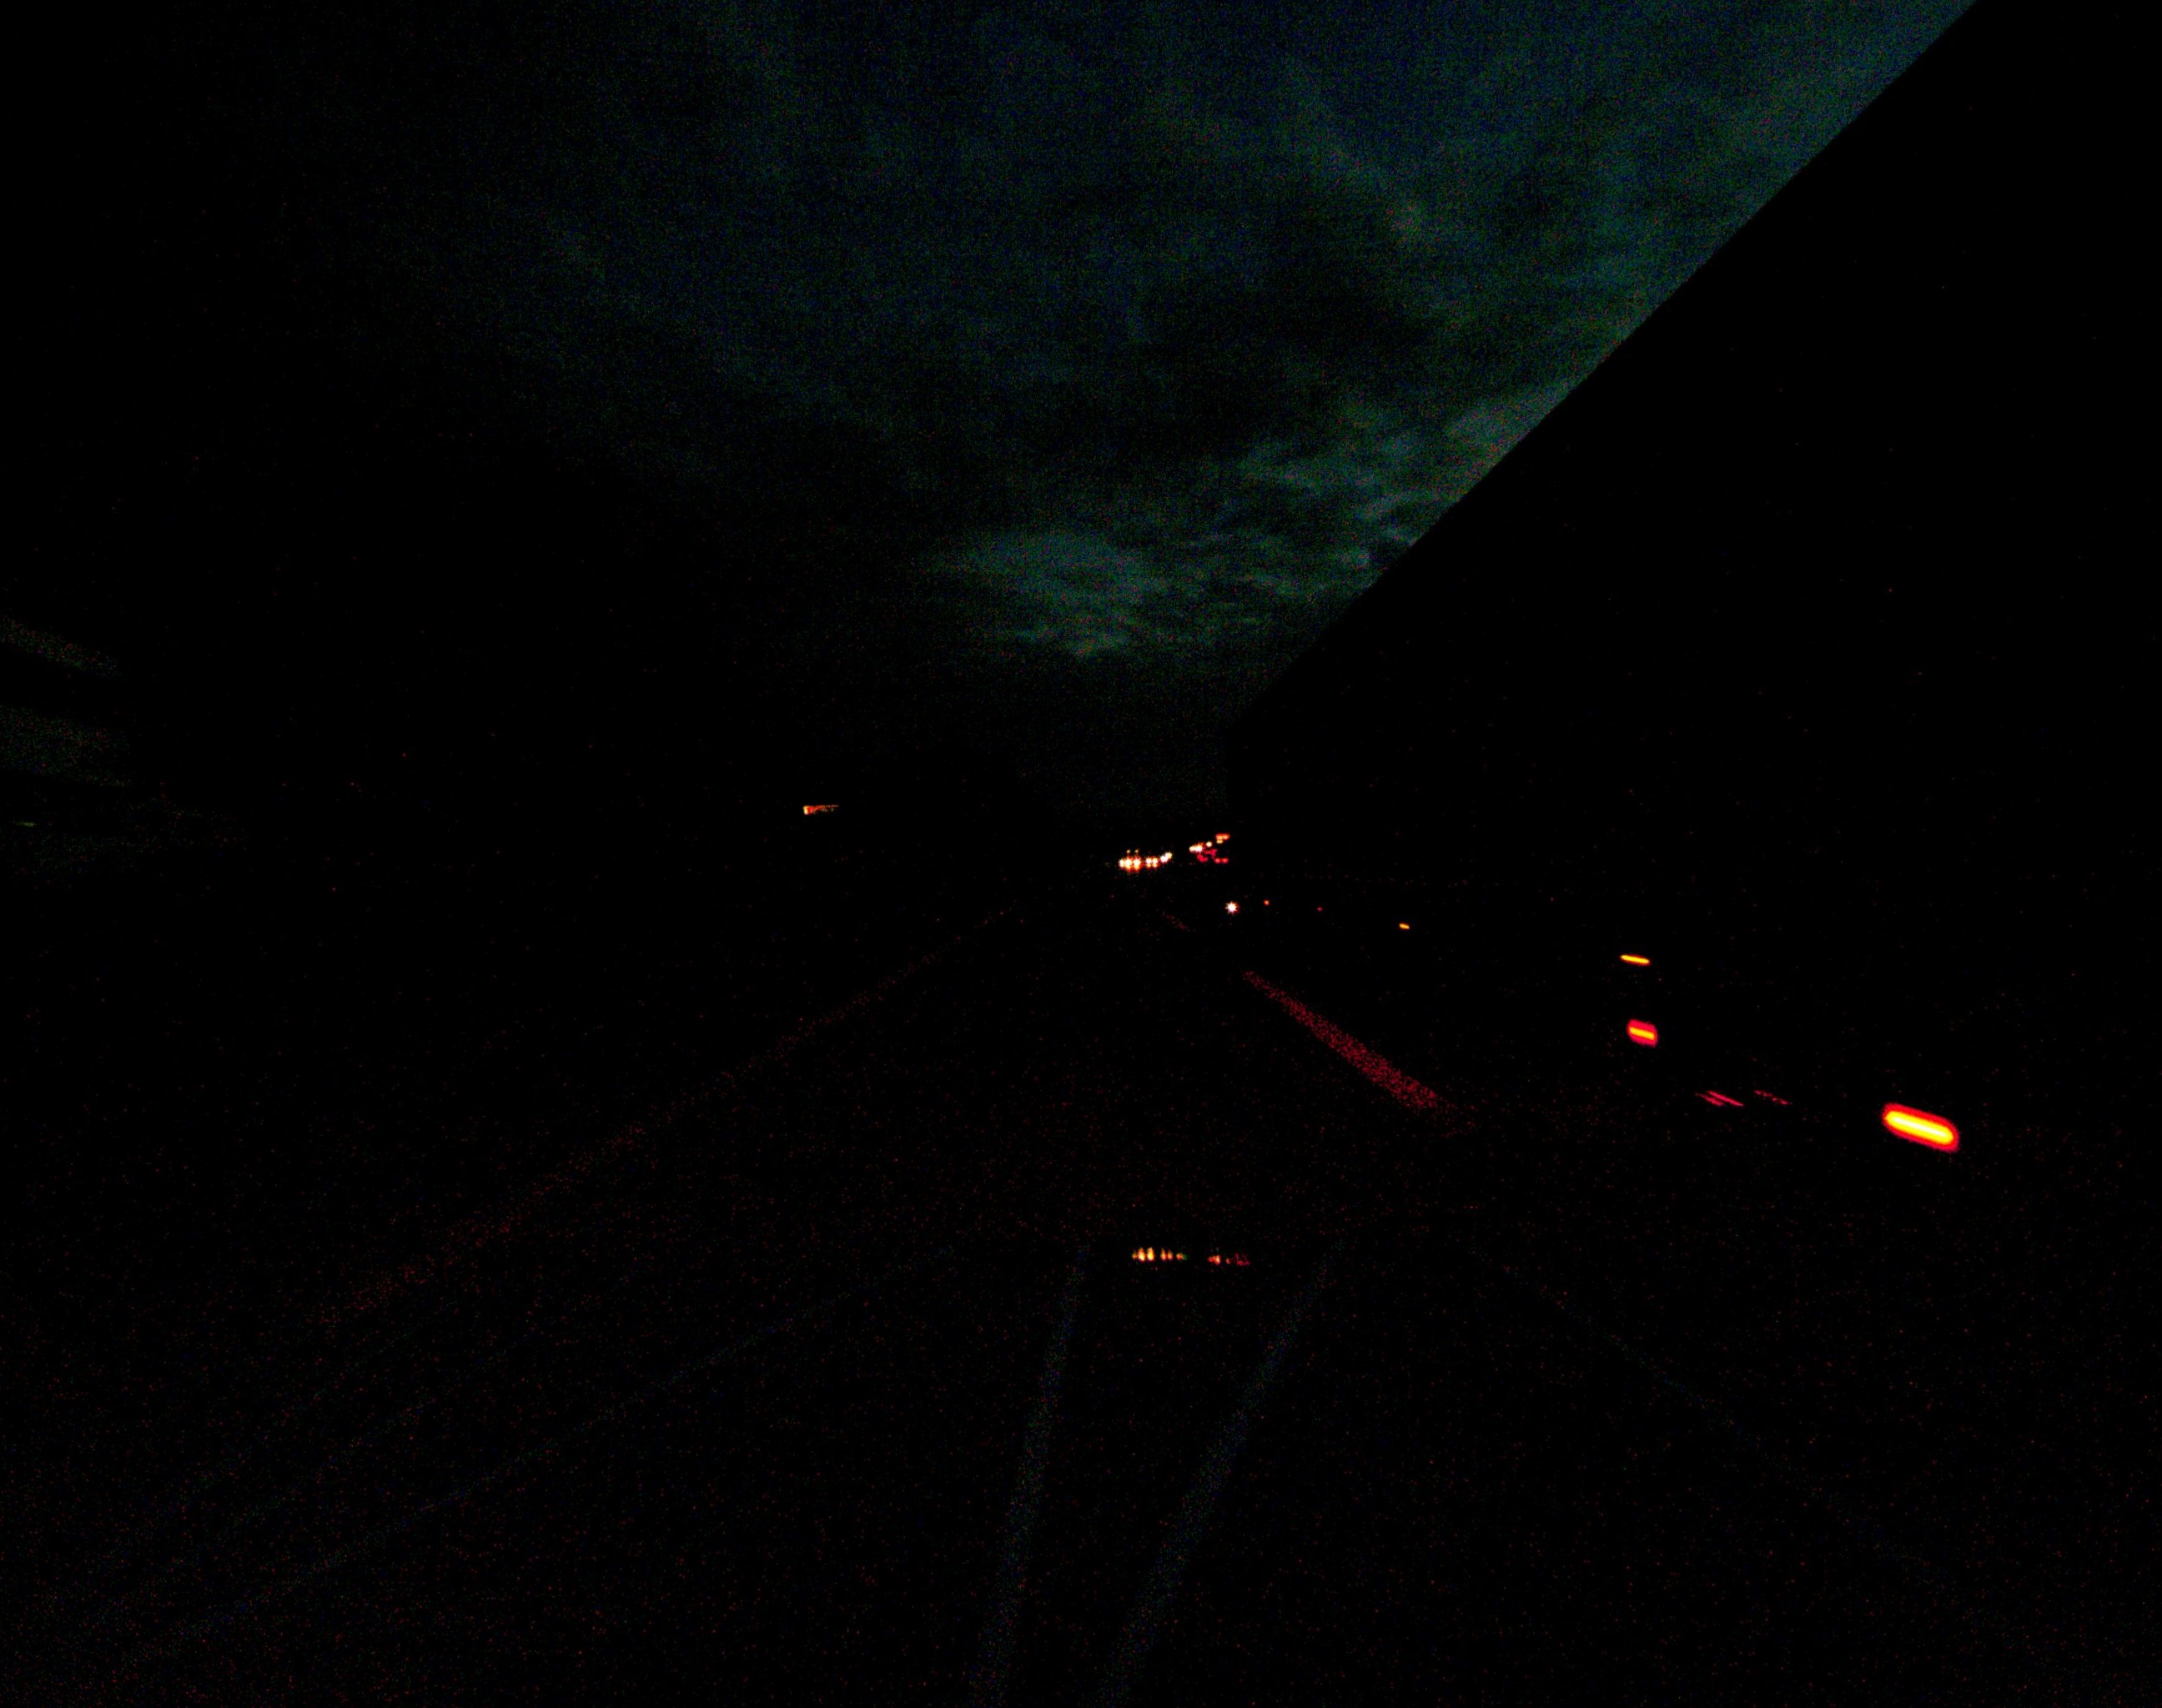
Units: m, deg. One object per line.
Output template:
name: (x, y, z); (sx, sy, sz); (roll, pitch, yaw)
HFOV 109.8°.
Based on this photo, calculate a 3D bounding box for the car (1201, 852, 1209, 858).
car: (37.913, 0.303, 233.082); (1.998, 1.706, 4.001); (-3, 0, 4)

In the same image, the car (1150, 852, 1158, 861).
car: (18.533, 0.636, 193.324); (1.998, 2.002, 4.001); (-1, 0, 4)

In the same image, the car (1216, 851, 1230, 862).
car: (27.364, 0.475, 146.319); (1.998, 2.002, 4.489); (-2, 0, 3)

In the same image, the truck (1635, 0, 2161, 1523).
truck: (4.006, -0.328, 0.458); (2.786, 3.879, 6.154); (-2, 0, 0)

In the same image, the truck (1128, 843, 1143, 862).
truck: (12.896, -0.384, 179.304); (3.352, 4.293, 11.328); (-1, 0, 4)

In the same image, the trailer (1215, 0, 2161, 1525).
trailer: (4.001, -0.330, 7.256); (2.781, 3.892, 14.818); (-1, 0, 0)
